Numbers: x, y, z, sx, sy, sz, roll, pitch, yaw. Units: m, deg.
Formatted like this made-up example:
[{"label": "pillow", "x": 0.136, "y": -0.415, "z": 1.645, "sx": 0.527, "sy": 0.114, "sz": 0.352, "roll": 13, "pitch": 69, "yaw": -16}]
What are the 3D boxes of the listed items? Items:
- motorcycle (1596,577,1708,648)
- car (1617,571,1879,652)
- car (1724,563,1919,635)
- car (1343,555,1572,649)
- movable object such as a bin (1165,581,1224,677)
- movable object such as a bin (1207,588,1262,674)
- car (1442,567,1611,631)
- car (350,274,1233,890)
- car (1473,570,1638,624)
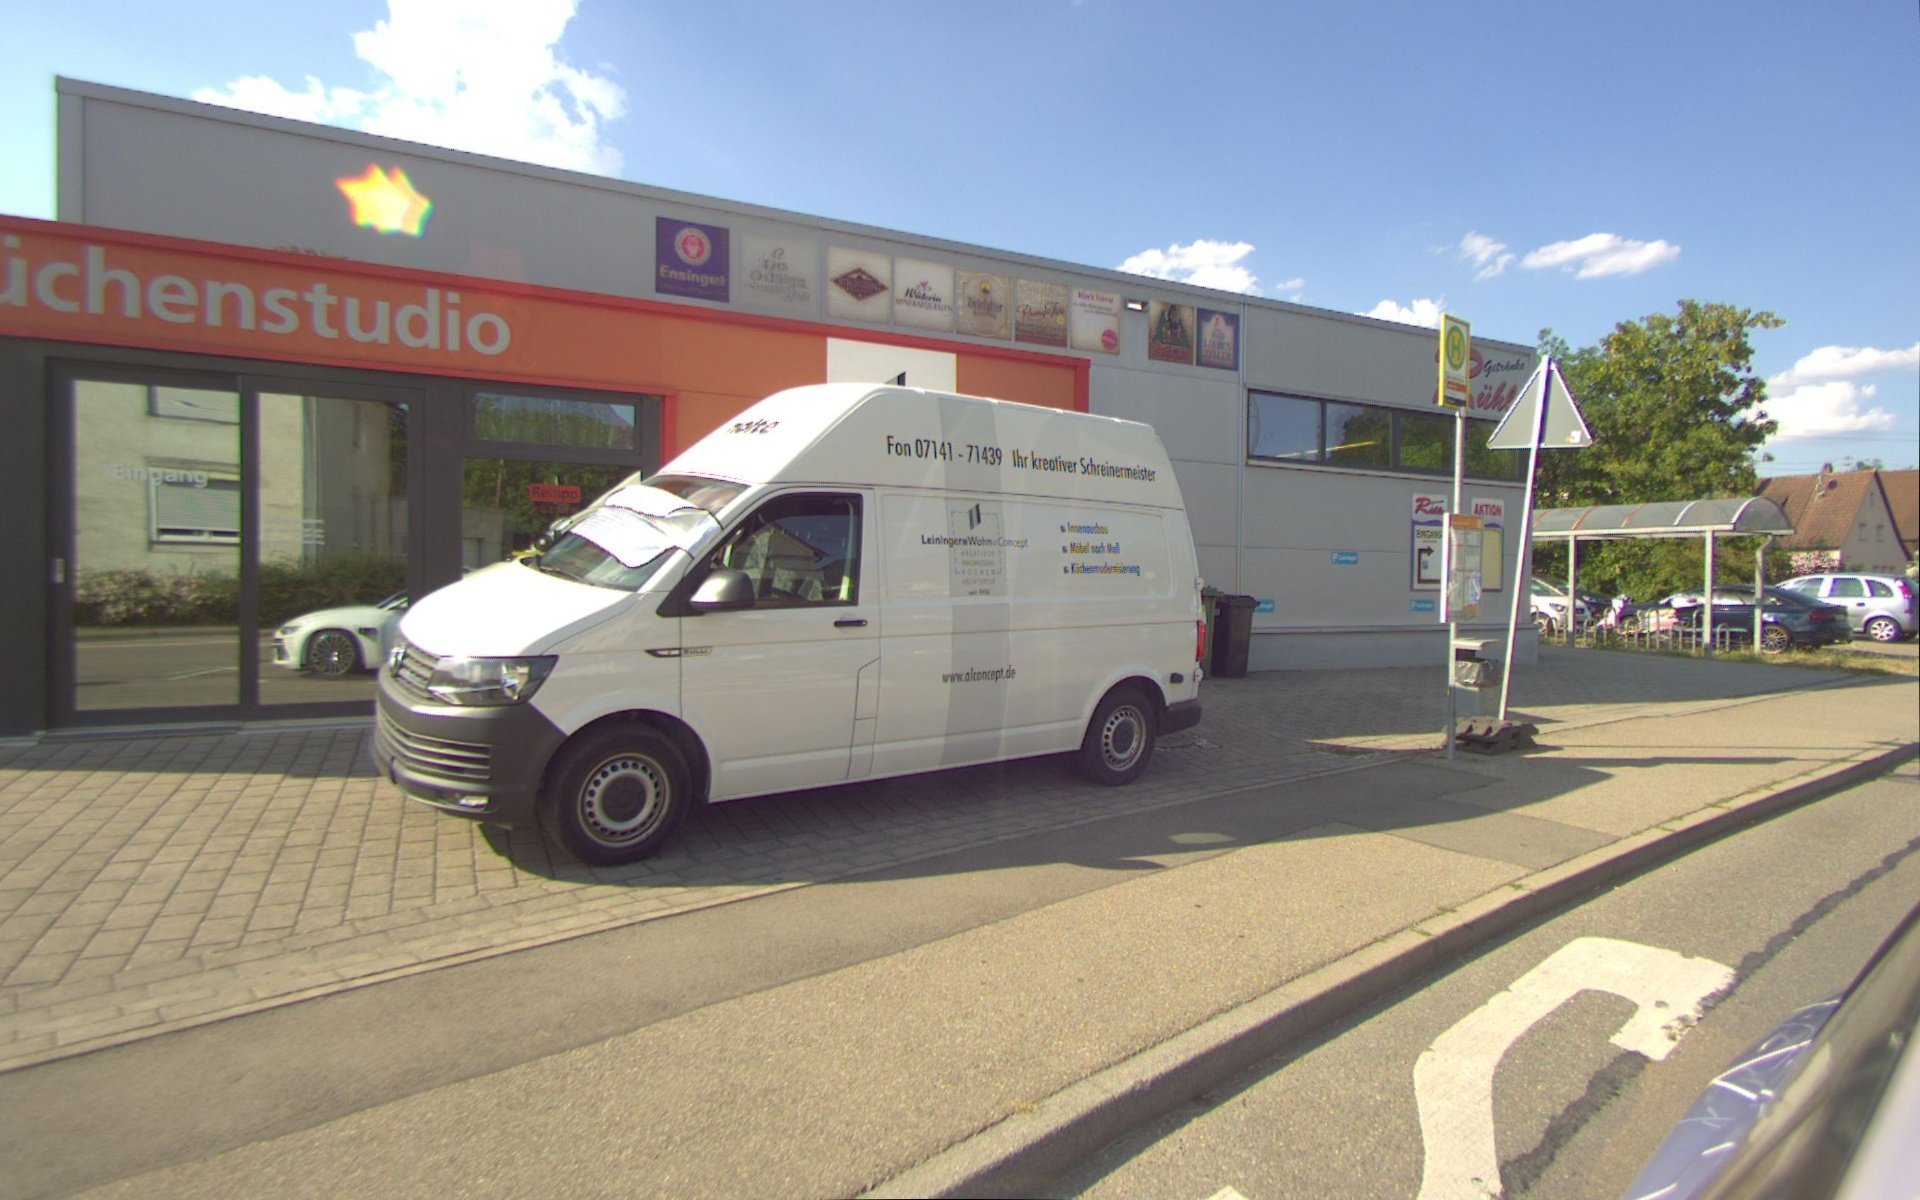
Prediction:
[{"label": "motorcycle", "x": 14.360, "y": 0.226, "z": 21.026, "sx": 1.822, "sy": 1.340, "sz": 0.632, "roll": 4, "pitch": 3, "yaw": 39}, {"label": "car", "x": 16.632, "y": 0.168, "z": 21.595, "sx": 1.594, "sy": 1.434, "sz": 4.083, "roll": -1, "pitch": 3, "yaw": -31}, {"label": "car", "x": 21.384, "y": -0.093, "z": 24.764, "sx": 1.650, "sy": 1.623, "sz": 3.954, "roll": -2, "pitch": 3, "yaw": -34}, {"label": "car", "x": 8.923, "y": -0.029, "z": 18.455, "sx": 1.467, "sy": 1.475, "sz": 3.575, "roll": 1, "pitch": 3, "yaw": -25}, {"label": "movable object such as a bin", "x": 2.660, "y": 0.319, "z": 11.485, "sx": 0.480, "sy": 1.055, "sz": 0.431, "roll": 0, "pitch": 1, "yaw": -27}, {"label": "movable object such as a bin", "x": 3.209, "y": 0.348, "z": 11.835, "sx": 0.421, "sy": 0.978, "sz": 0.431, "roll": 0, "pitch": 1, "yaw": -27}, {"label": "car", "x": 14.316, "y": -0.087, "z": 25.740, "sx": 1.468, "sy": 1.434, "sz": 3.454, "roll": -1, "pitch": 3, "yaw": -29}, {"label": "car", "x": -0.695, "y": -0.144, "z": 6.253, "sx": 5.084, "sy": 2.403, "sz": 1.842, "roll": -1, "pitch": 4, "yaw": -38}, {"label": "car", "x": 17.855, "y": -0.135, "z": 30.500, "sx": 1.650, "sy": 1.466, "sz": 3.954, "roll": -2, "pitch": 3, "yaw": -34}]
